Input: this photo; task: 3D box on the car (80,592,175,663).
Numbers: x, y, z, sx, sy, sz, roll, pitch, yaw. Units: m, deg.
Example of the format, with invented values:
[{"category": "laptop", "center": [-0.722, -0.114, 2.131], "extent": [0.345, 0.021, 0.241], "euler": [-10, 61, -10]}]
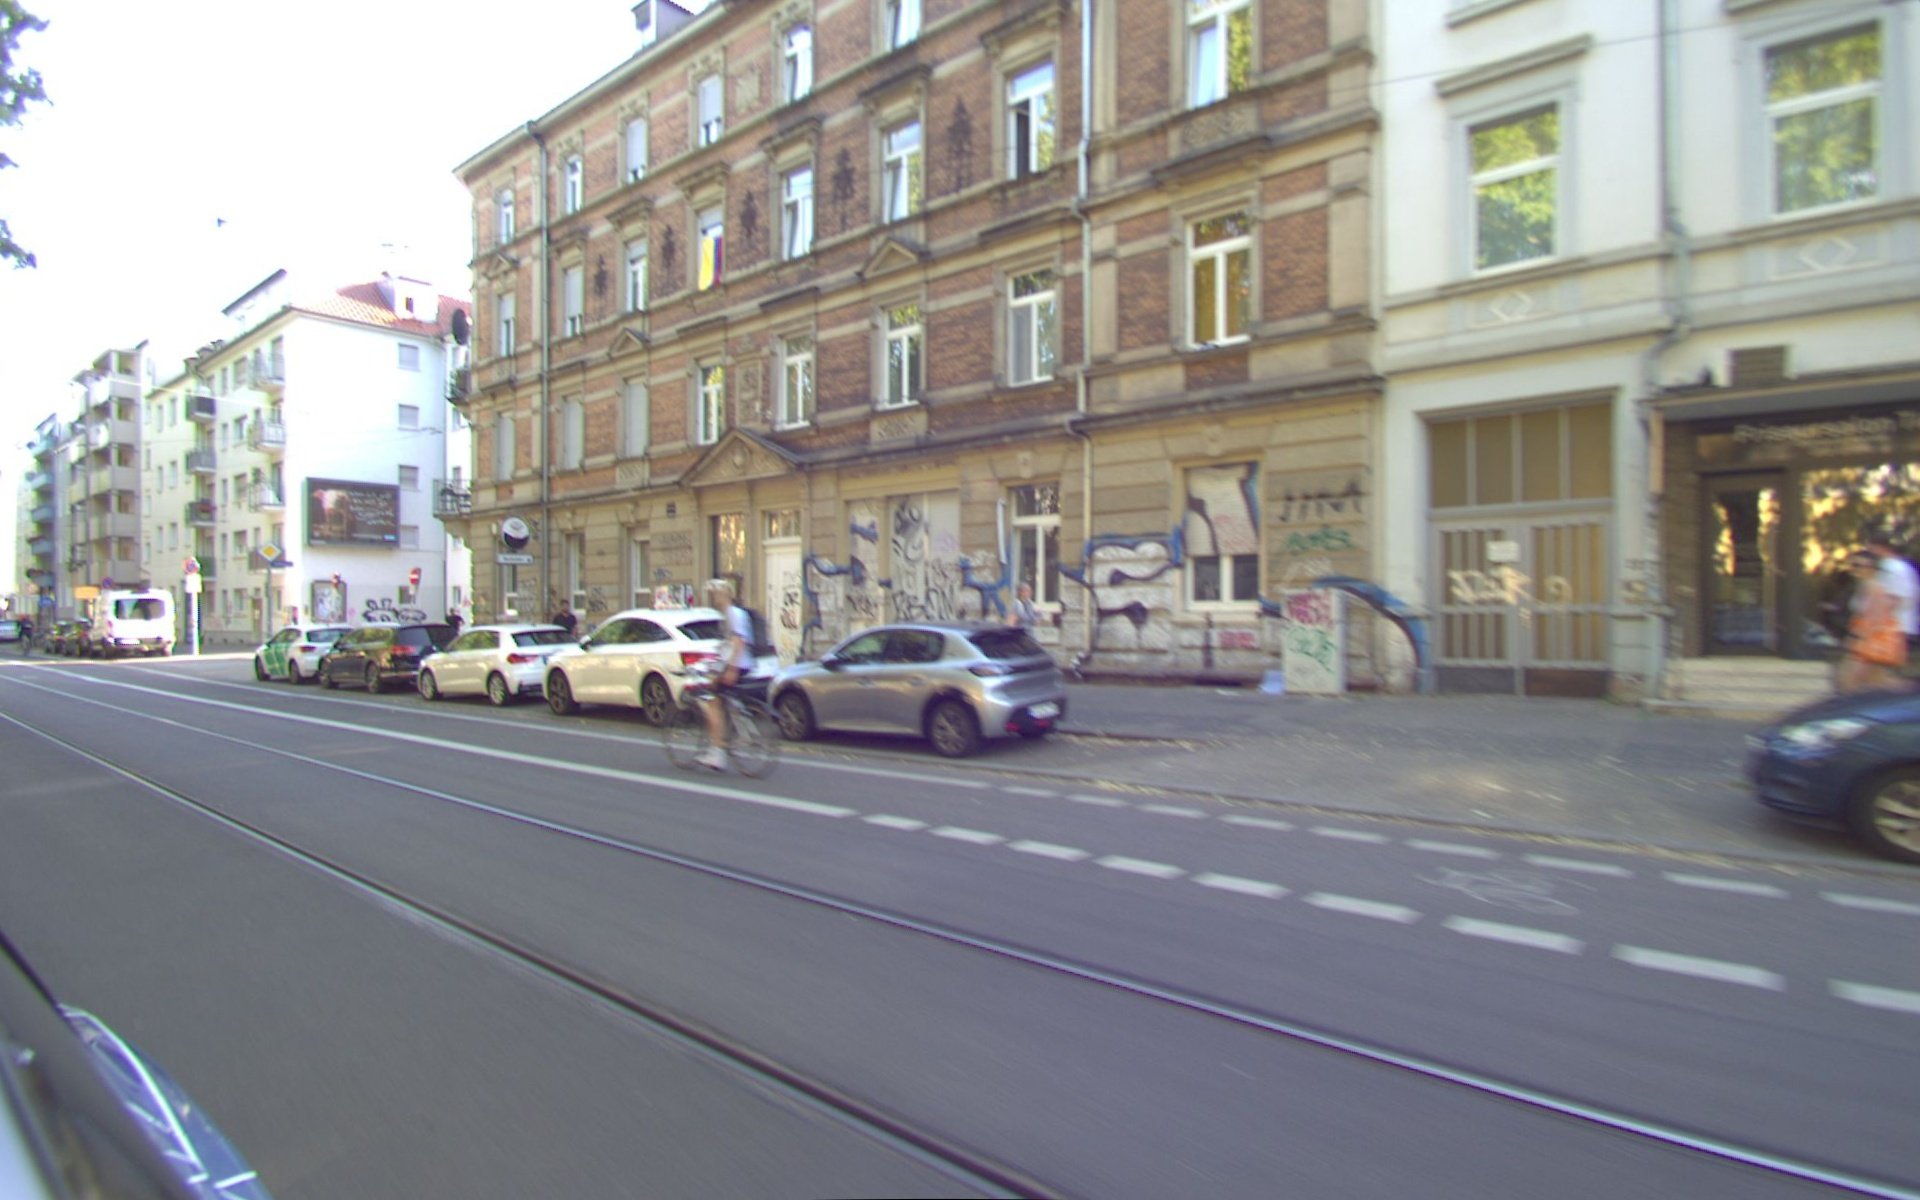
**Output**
[{"category": "car", "center": [-32.254, 1.034, 39.159], "extent": [5.665, 2.555, 2.043], "euler": [-1, -1, 42]}]

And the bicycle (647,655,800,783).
[{"category": "bicycle", "center": [-2.340, 1.109, 9.857], "extent": [1.845, 1.094, 0.476], "euler": [-1, -1, 42]}]

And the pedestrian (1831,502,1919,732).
[{"category": "pedestrian", "center": [8.598, 0.153, 9.293], "extent": [0.829, 2.029, 0.752], "euler": [-1, -1, 39]}]

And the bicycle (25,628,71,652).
[{"category": "bicycle", "center": [-47.723, 2.086, 52.962], "extent": [1.768, 1.127, 0.425], "euler": [-2, 0, -43]}]

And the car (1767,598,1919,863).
[{"category": "car", "center": [6.974, 0.732, 5.505], "extent": [3.924, 1.527, 1.537], "euler": [-1, -2, 43]}]

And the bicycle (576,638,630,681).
[{"category": "bicycle", "center": [-9.141, 1.501, 25.901], "extent": [1.846, 1.042, 0.369], "euler": [-1, -1, 38]}]

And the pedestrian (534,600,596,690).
[{"category": "pedestrian", "center": [-8.268, 0.931, 21.191], "extent": [1.053, 1.814, 0.678], "euler": [-1, 0, 32]}]

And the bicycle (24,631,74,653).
[{"category": "bicycle", "center": [-46.785, 2.139, 51.973], "extent": [1.871, 1.045, 0.402], "euler": [-2, 0, -43]}]

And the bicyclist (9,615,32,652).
[{"category": "bicyclist", "center": [-39.155, 1.387, 42.181], "extent": [0.806, 1.493, 0.576], "euler": [-1, -2, 40]}]

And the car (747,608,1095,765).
[{"category": "car", "center": [-0.572, 0.906, 12.100], "extent": [4.059, 1.532, 1.646], "euler": [-1, 0, 39]}]

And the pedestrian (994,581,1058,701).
[{"category": "pedestrian", "center": [0.943, 0.572, 14.672], "extent": [0.653, 1.678, 0.771], "euler": [-1, 0, -18]}]

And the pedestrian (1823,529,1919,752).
[{"category": "pedestrian", "center": [8.034, 0.339, 8.718], "extent": [0.829, 1.835, 0.752], "euler": [-1, -1, 38]}]

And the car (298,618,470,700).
[{"category": "car", "center": [-12.869, 1.229, 22.483], "extent": [4.782, 1.574, 1.723], "euler": [-1, 0, 40]}]

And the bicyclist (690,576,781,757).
[{"category": "bicyclist", "center": [-2.147, 0.612, 9.673], "extent": [0.799, 1.648, 0.468], "euler": [-1, -1, 41]}]

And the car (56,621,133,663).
[{"category": "car", "center": [-36.330, 1.720, 42.454], "extent": [4.342, 1.644, 1.701], "euler": [-1, -1, 39]}]

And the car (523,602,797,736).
[{"category": "car", "center": [-4.745, 0.945, 15.620], "extent": [4.715, 1.736, 1.768], "euler": [-1, 0, 41]}]

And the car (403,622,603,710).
[{"category": "car", "center": [-8.629, 1.166, 18.981], "extent": [3.993, 1.431, 1.684], "euler": [-1, 0, 37]}]

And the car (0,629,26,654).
[{"category": "car", "center": [-59.101, 2.549, 62.429], "extent": [4.726, 1.502, 1.672], "euler": [-1, -1, 41]}]

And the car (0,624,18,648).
[{"category": "car", "center": [-62.716, 2.302, 65.638], "extent": [4.236, 1.502, 1.776], "euler": [-1, -1, 39]}]

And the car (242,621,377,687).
[{"category": "car", "center": [-16.653, 1.318, 25.844], "extent": [4.041, 1.503, 1.723], "euler": [-1, 0, 40]}]

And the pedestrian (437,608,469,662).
[{"category": "pedestrian", "center": [-16.815, 1.158, 33.560], "extent": [0.893, 1.762, 0.649], "euler": [-3, -1, 44]}]

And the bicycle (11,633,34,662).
[{"category": "bicycle", "center": [-38.981, 1.957, 42.082], "extent": [2.230, 1.159, 0.416], "euler": [-1, -2, 40]}]

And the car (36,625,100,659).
[{"category": "car", "center": [-40.736, 1.886, 46.202], "extent": [4.571, 1.467, 1.700], "euler": [-1, -1, 42]}]

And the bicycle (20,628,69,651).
[{"category": "bicycle", "center": [-48.956, 2.107, 54.132], "extent": [1.937, 1.127, 0.440], "euler": [-2, 0, -43]}]

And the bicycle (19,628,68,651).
[{"category": "bicycle", "center": [-49.334, 2.114, 54.482], "extent": [1.908, 1.127, 0.440], "euler": [-2, 0, -43]}]
